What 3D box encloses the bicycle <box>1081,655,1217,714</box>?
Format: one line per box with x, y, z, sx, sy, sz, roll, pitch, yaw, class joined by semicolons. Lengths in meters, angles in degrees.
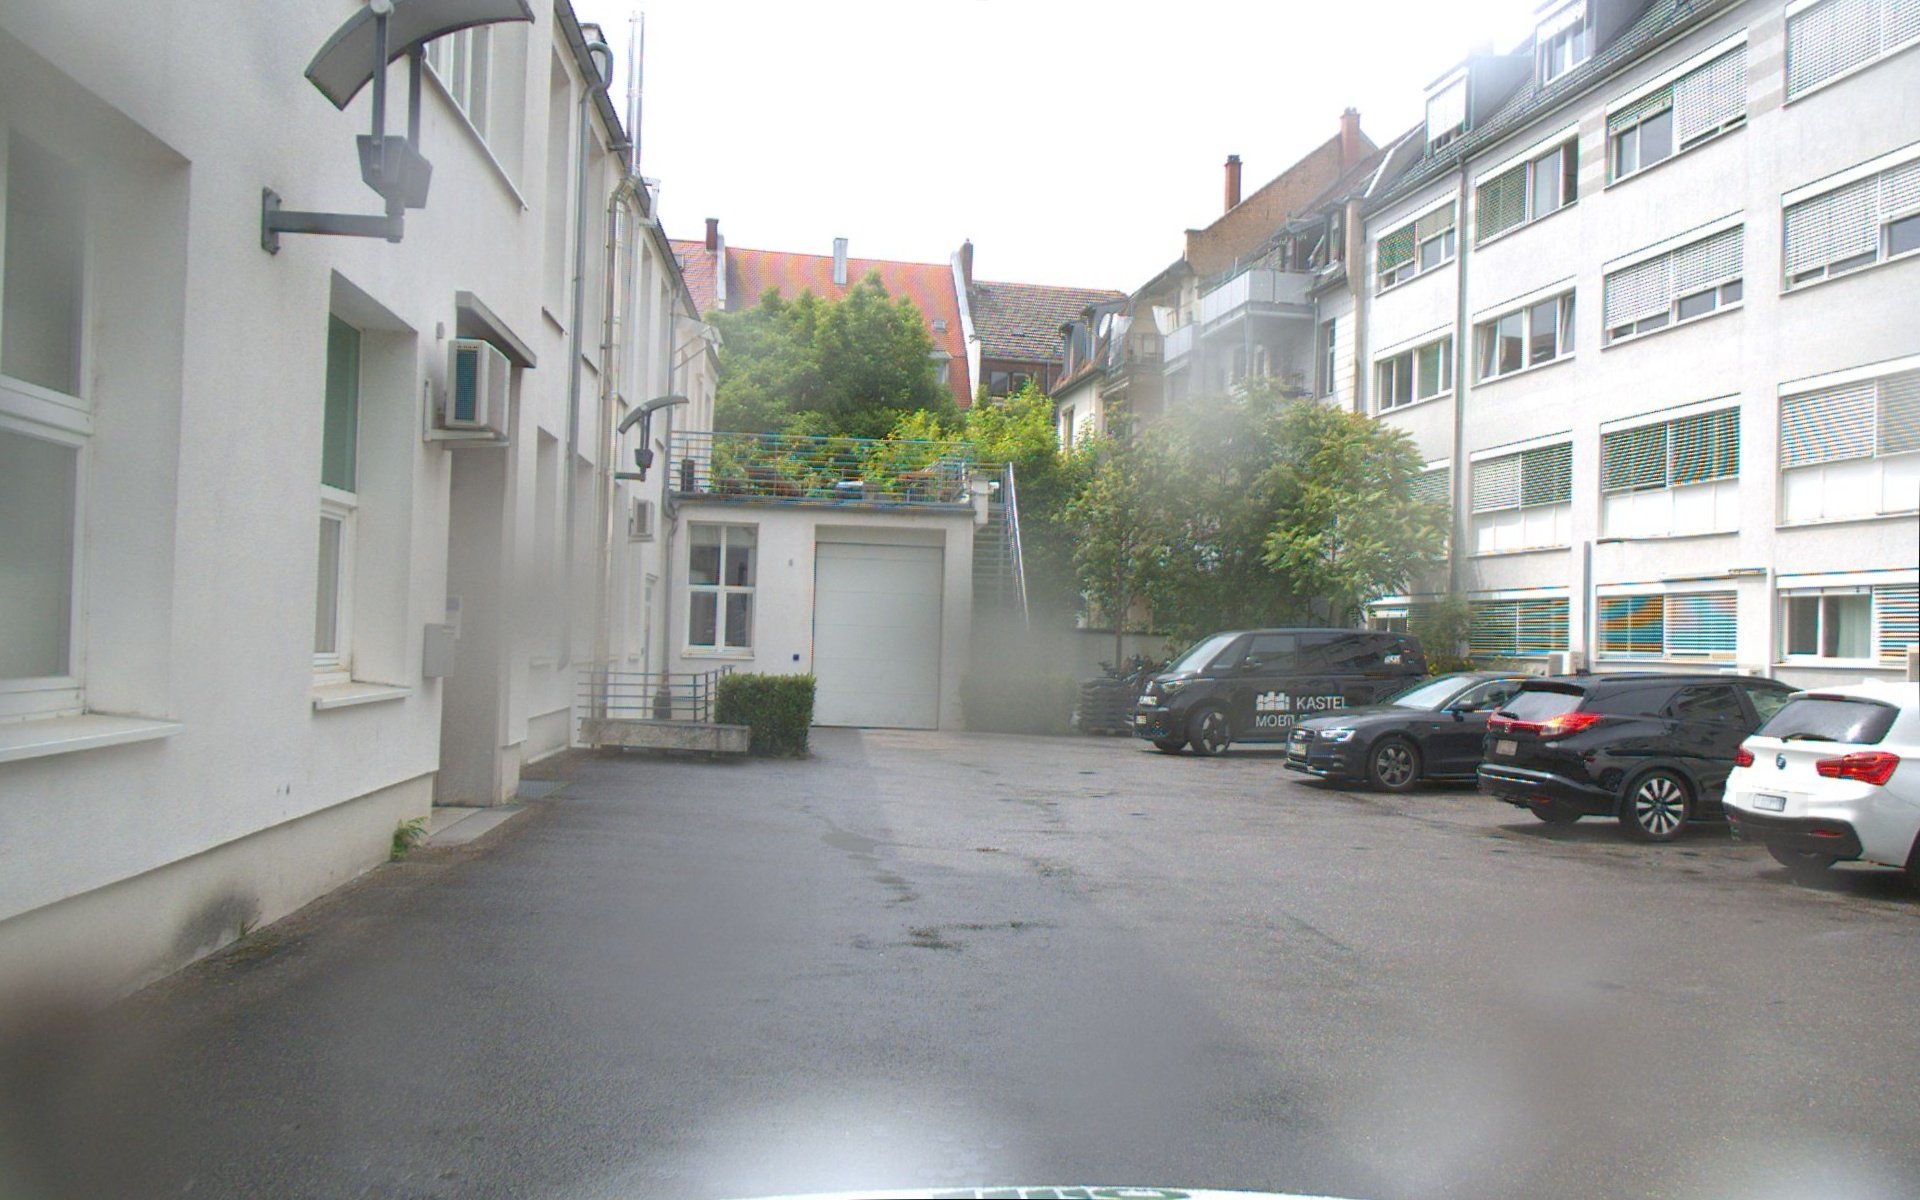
4.059;1.815;35.556;2.790;1.097;0.688;4;-1;-8;bicycle

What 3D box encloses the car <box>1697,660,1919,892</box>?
7.719;1.215;11.995;4.022;1.481;1.829;1;-1;-9;car

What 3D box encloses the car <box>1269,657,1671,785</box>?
6.090;1.438;19.933;4.276;1.372;1.855;2;-1;-12;car

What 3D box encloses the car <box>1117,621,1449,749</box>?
4.958;1.296;25.668;4.626;1.865;2.104;1;-1;-12;car

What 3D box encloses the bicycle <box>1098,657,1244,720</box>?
4.347;1.817;34.082;2.868;1.097;0.688;4;-1;-8;bicycle

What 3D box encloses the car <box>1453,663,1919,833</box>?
6.961;1.340;15.468;4.096;1.426;1.934;1;-2;-12;car

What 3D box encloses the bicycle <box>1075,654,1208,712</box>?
3.972;1.817;36.265;2.790;1.097;0.688;4;-1;-8;bicycle

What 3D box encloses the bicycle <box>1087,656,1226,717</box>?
4.139;1.812;34.839;2.790;1.097;0.688;4;-1;-8;bicycle
